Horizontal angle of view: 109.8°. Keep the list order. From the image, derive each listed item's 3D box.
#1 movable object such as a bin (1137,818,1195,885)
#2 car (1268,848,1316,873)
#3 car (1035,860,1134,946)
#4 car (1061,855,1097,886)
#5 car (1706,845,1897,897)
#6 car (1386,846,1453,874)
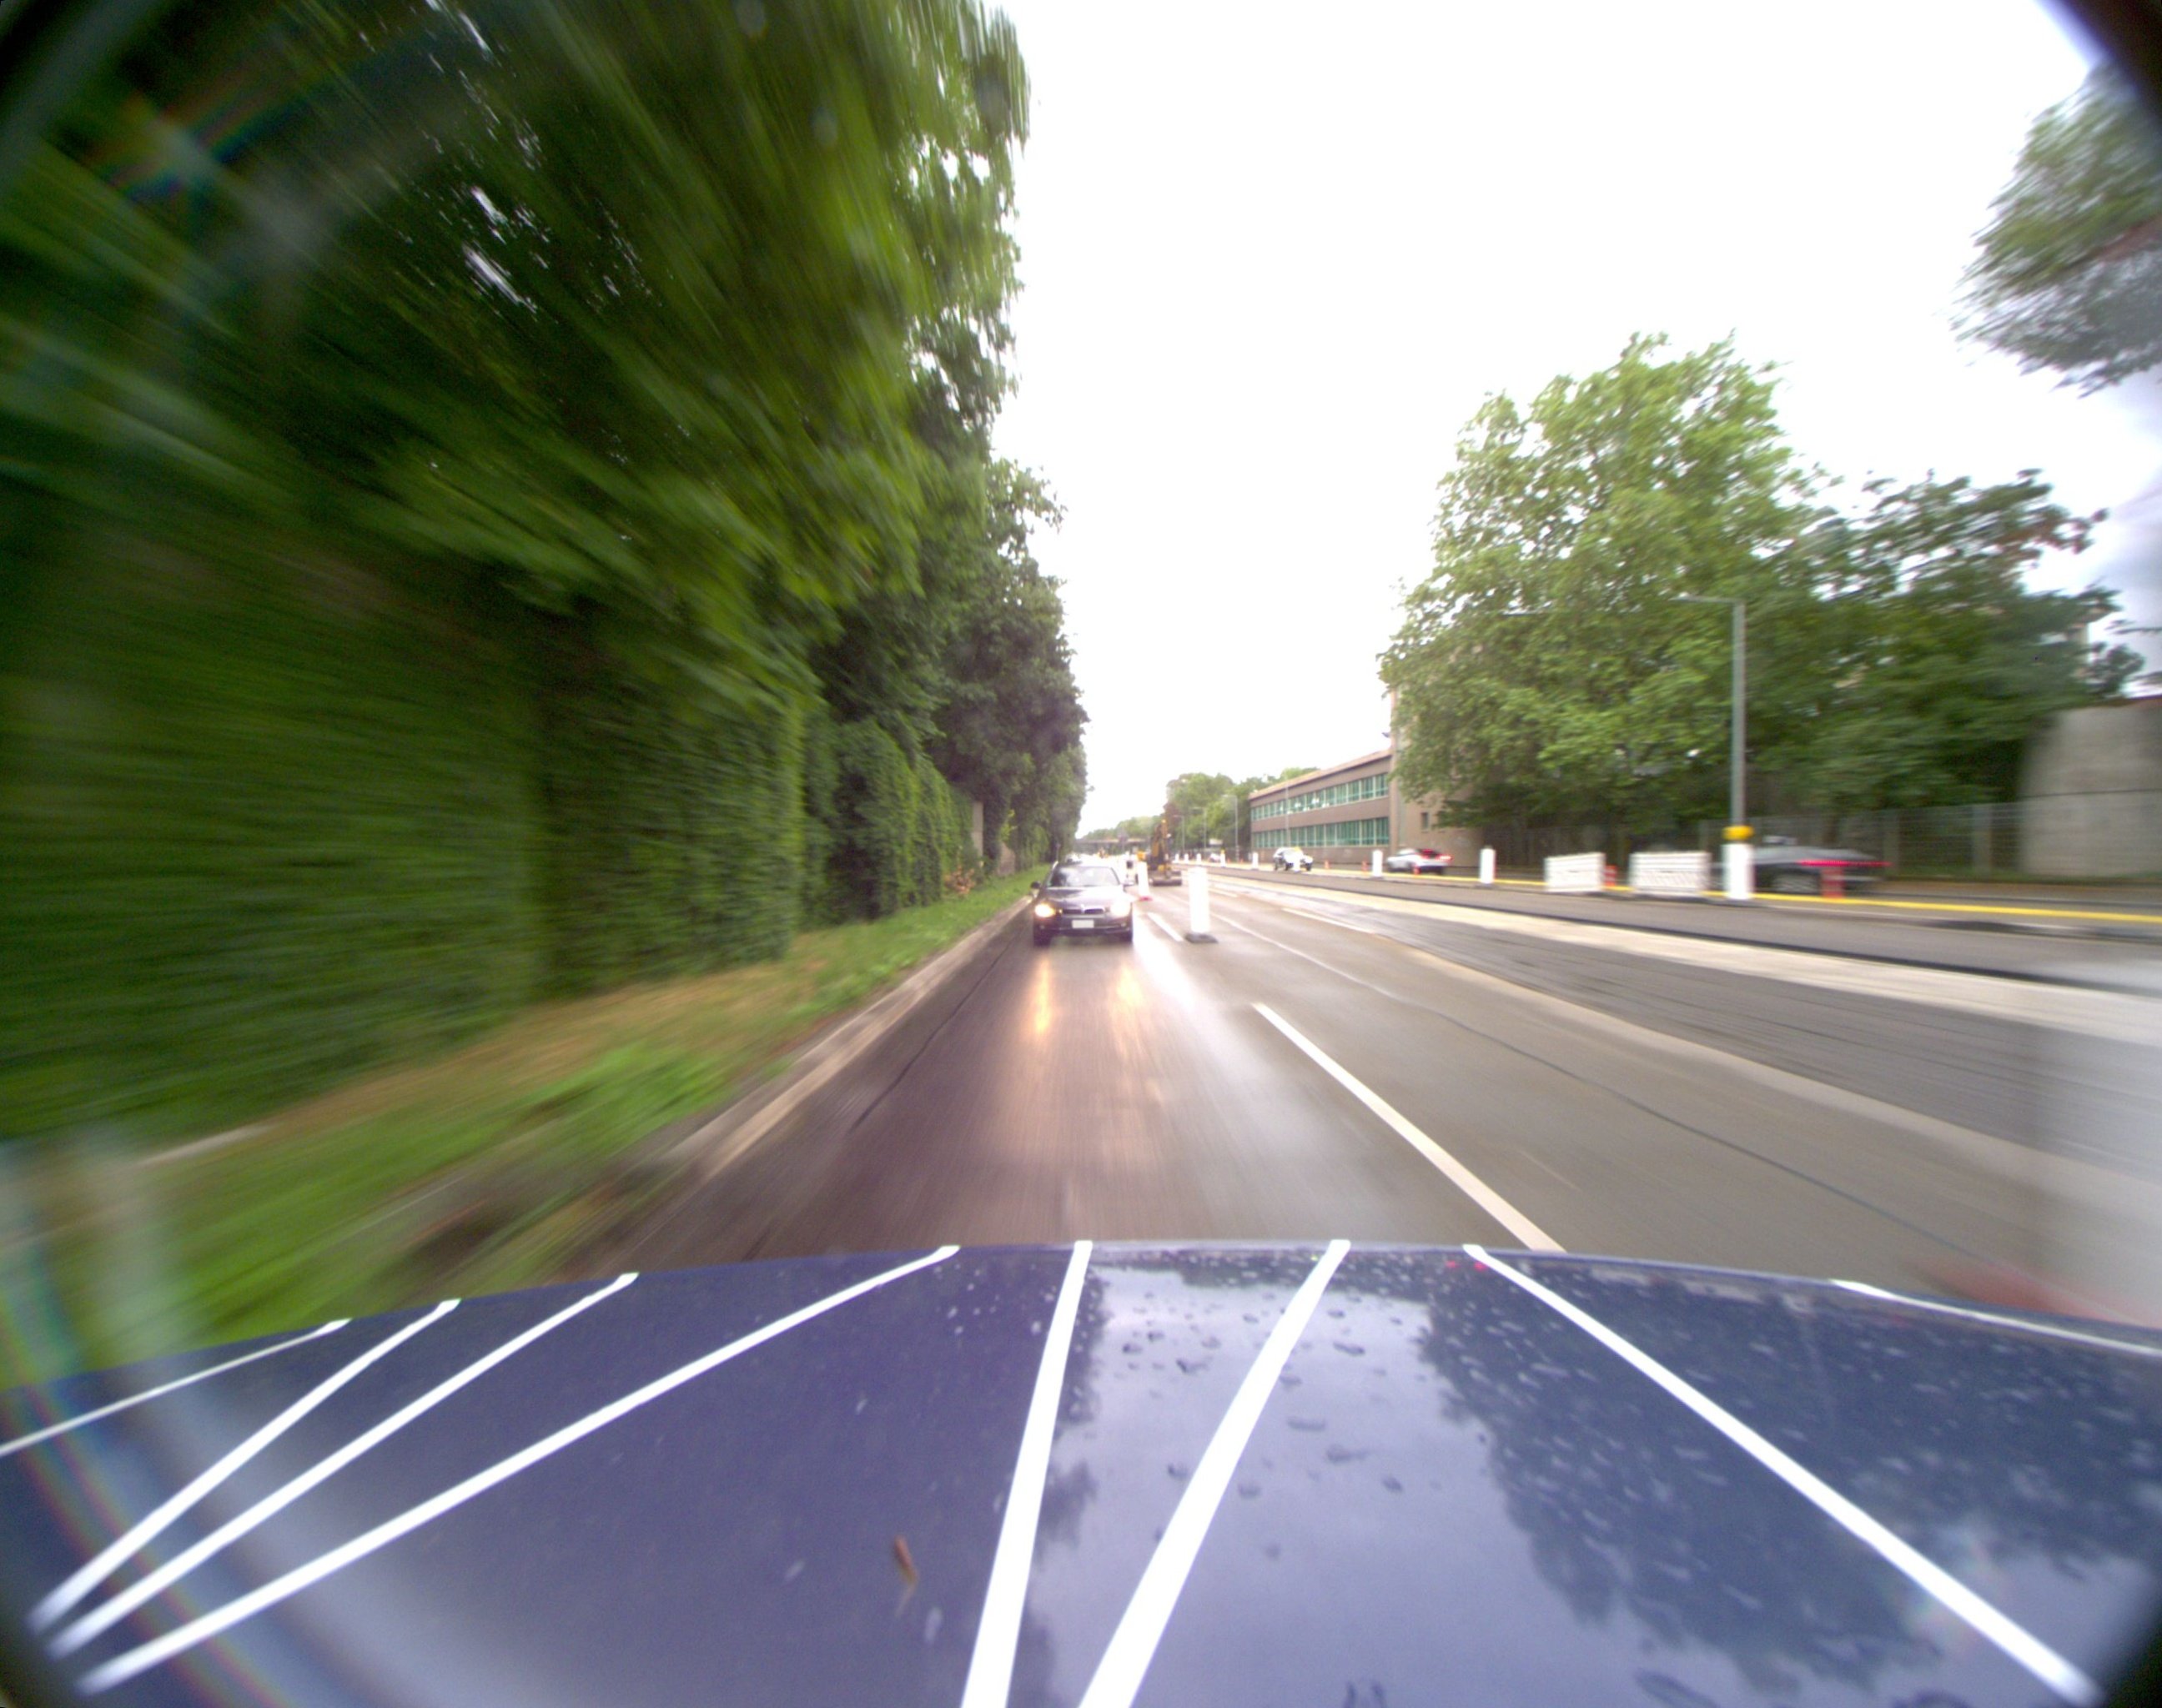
[{"bbox_3d":[4.152,-0.147,38.156,1.999,3.084,5.622,-1,1,-3],"label":"movable object such as a bin"},{"bbox_3d":[15.328,0.499,55.521,1.999,1.695,4.984,3,-1,0],"label":"car"},{"bbox_3d":[0.210,0.911,15.962,1.742,1.454,4.459,-1,1,4],"label":"car"},{"bbox_3d":[-0.065,0.819,40.256,1.742,1.454,4.458,-1,1,1],"label":"car"},{"bbox_3d":[20.991,0.444,22.422,1.710,1.374,4.169,0,0,0],"label":"car"},{"bbox_3d":[18.603,0.320,41.904,1.841,1.426,4.148,-1,1,0],"label":"car"}]
